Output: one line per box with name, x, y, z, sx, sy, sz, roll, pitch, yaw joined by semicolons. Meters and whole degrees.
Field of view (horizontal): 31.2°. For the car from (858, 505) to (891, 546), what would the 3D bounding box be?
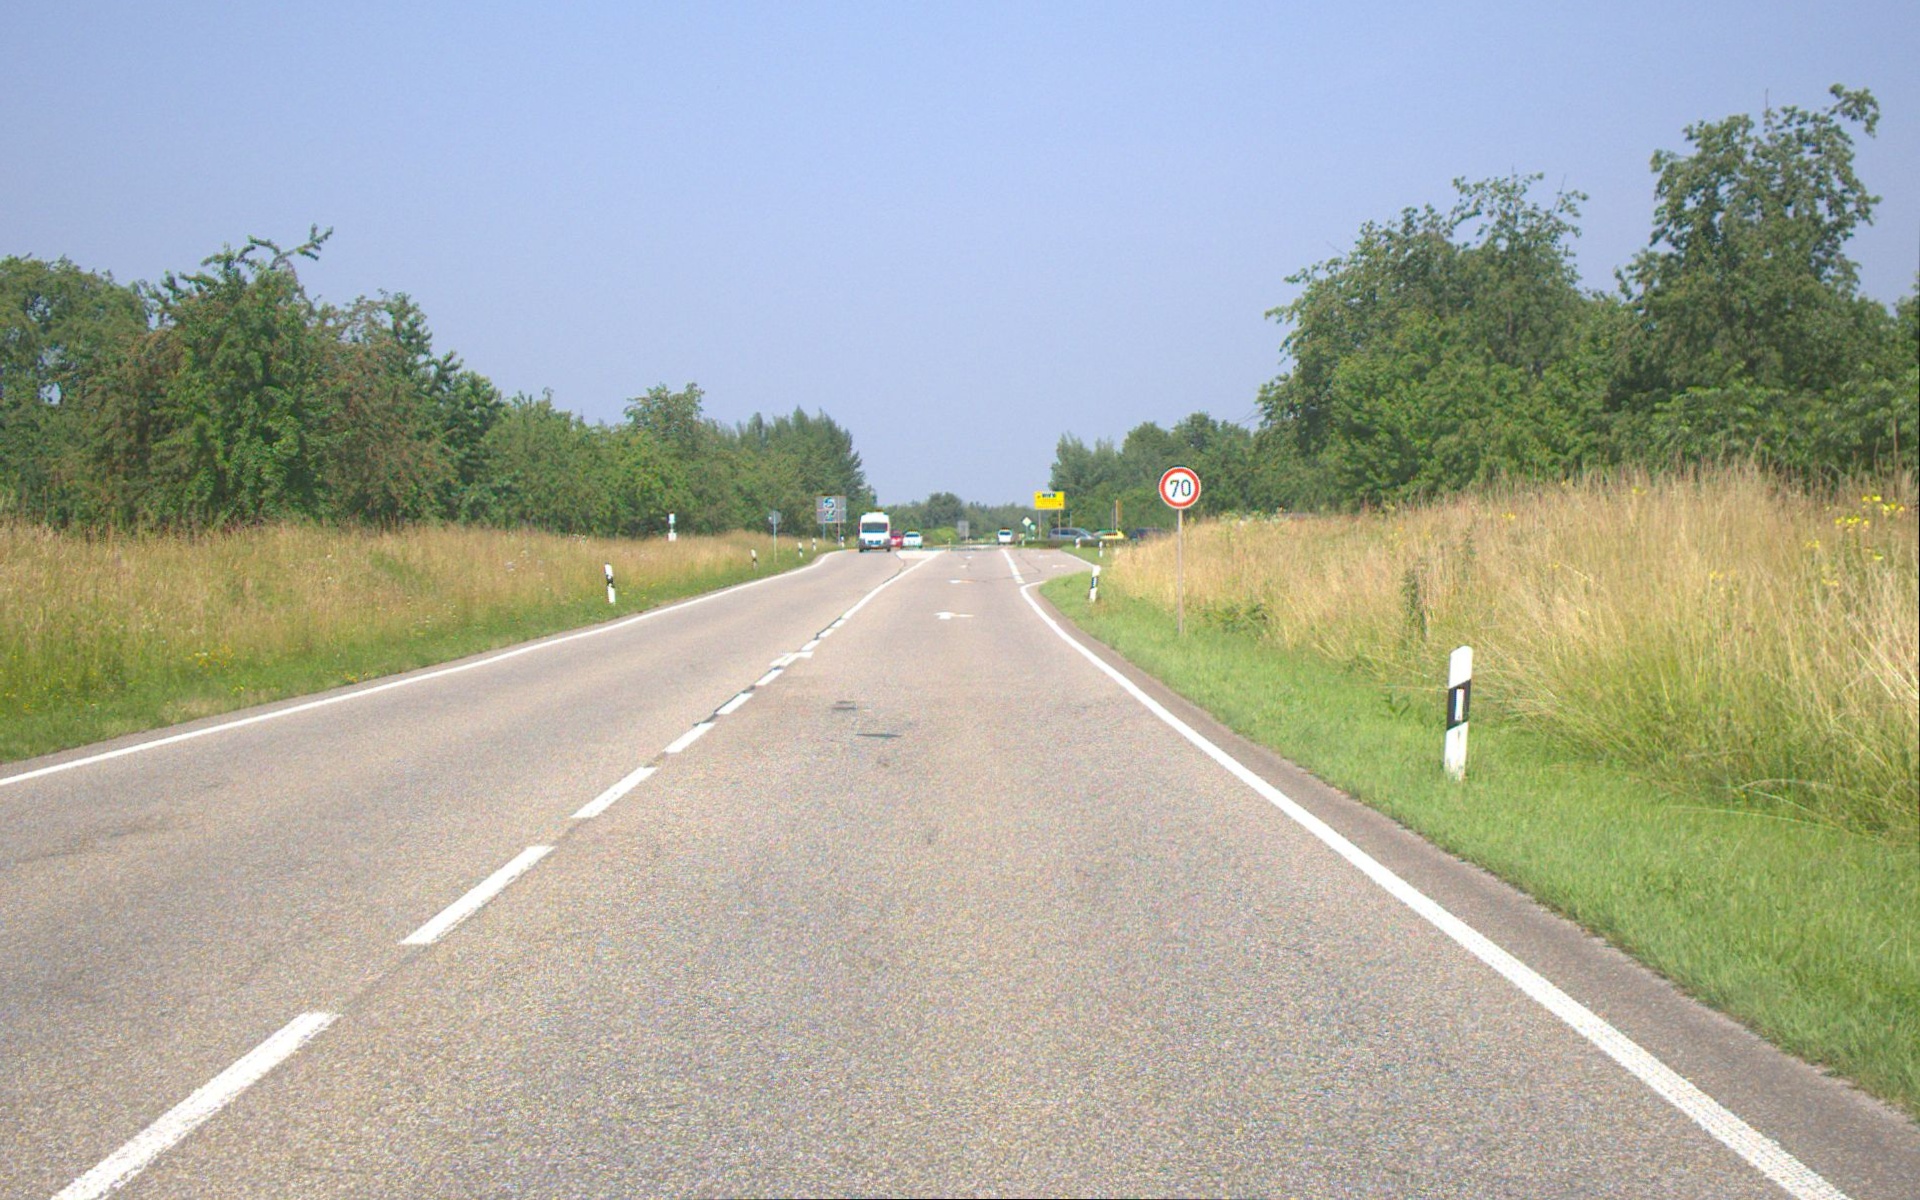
car;-5.702;-4.977;229.775;2.161;2.659;6.144;0;1;-1
